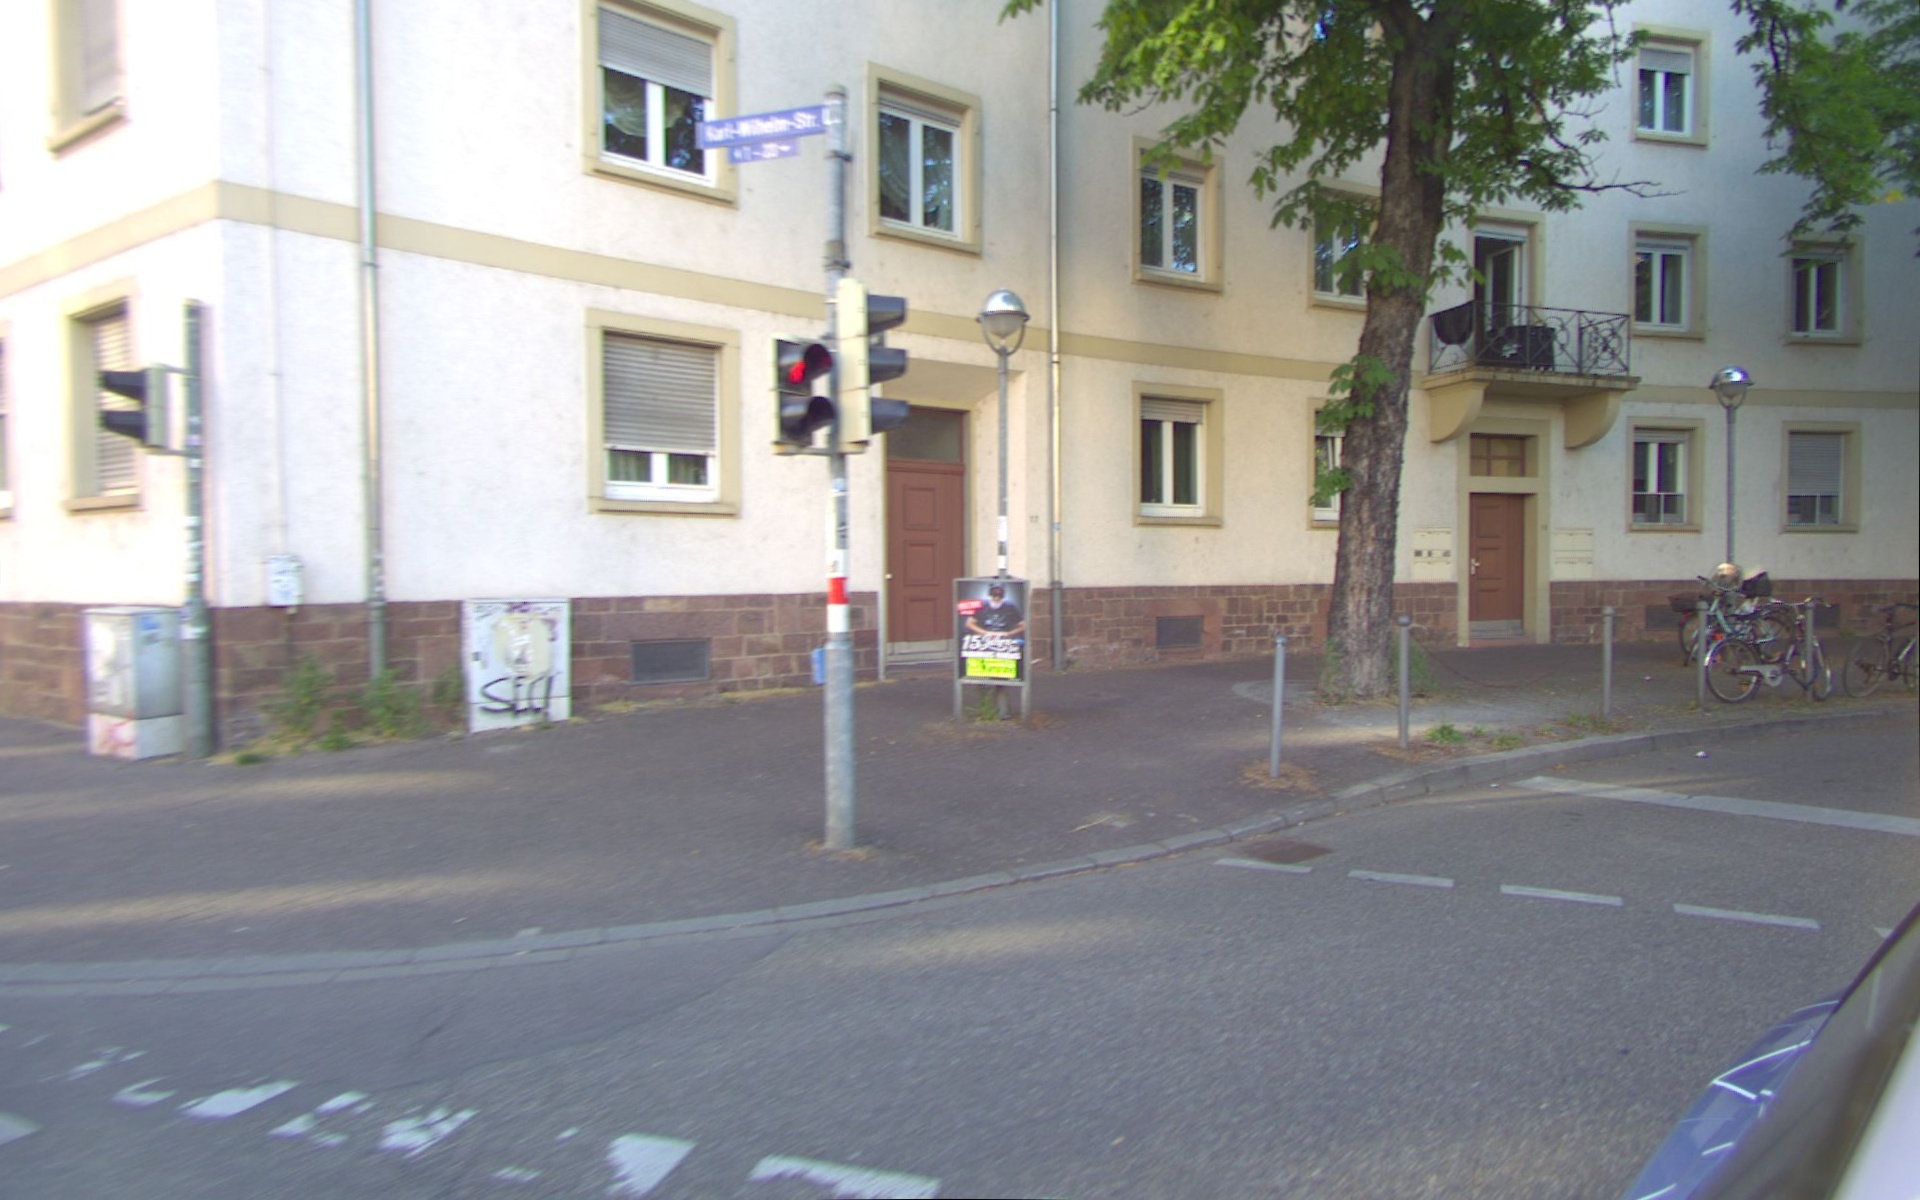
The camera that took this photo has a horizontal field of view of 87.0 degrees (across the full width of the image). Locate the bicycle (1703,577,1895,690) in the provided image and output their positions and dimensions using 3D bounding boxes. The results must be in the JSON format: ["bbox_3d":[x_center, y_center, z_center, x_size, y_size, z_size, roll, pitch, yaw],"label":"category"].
[{"bbox_3d":[8.487,0.334,10.256,1.602,1.076,0.483,1,5,-9],"label":"bicycle"}]

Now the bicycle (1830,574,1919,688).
[{"bbox_3d":[10.140,0.305,10.602,1.704,1.120,0.529,0,5,-11],"label":"bicycle"}]

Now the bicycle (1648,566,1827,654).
[{"bbox_3d":[10.308,0.119,13.451,1.927,1.121,0.670,0,2,-6],"label":"bicycle"}]

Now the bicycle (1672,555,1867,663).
[{"bbox_3d":[10.169,0.089,12.751,1.926,1.292,0.721,0,4,-7],"label":"bicycle"}]
